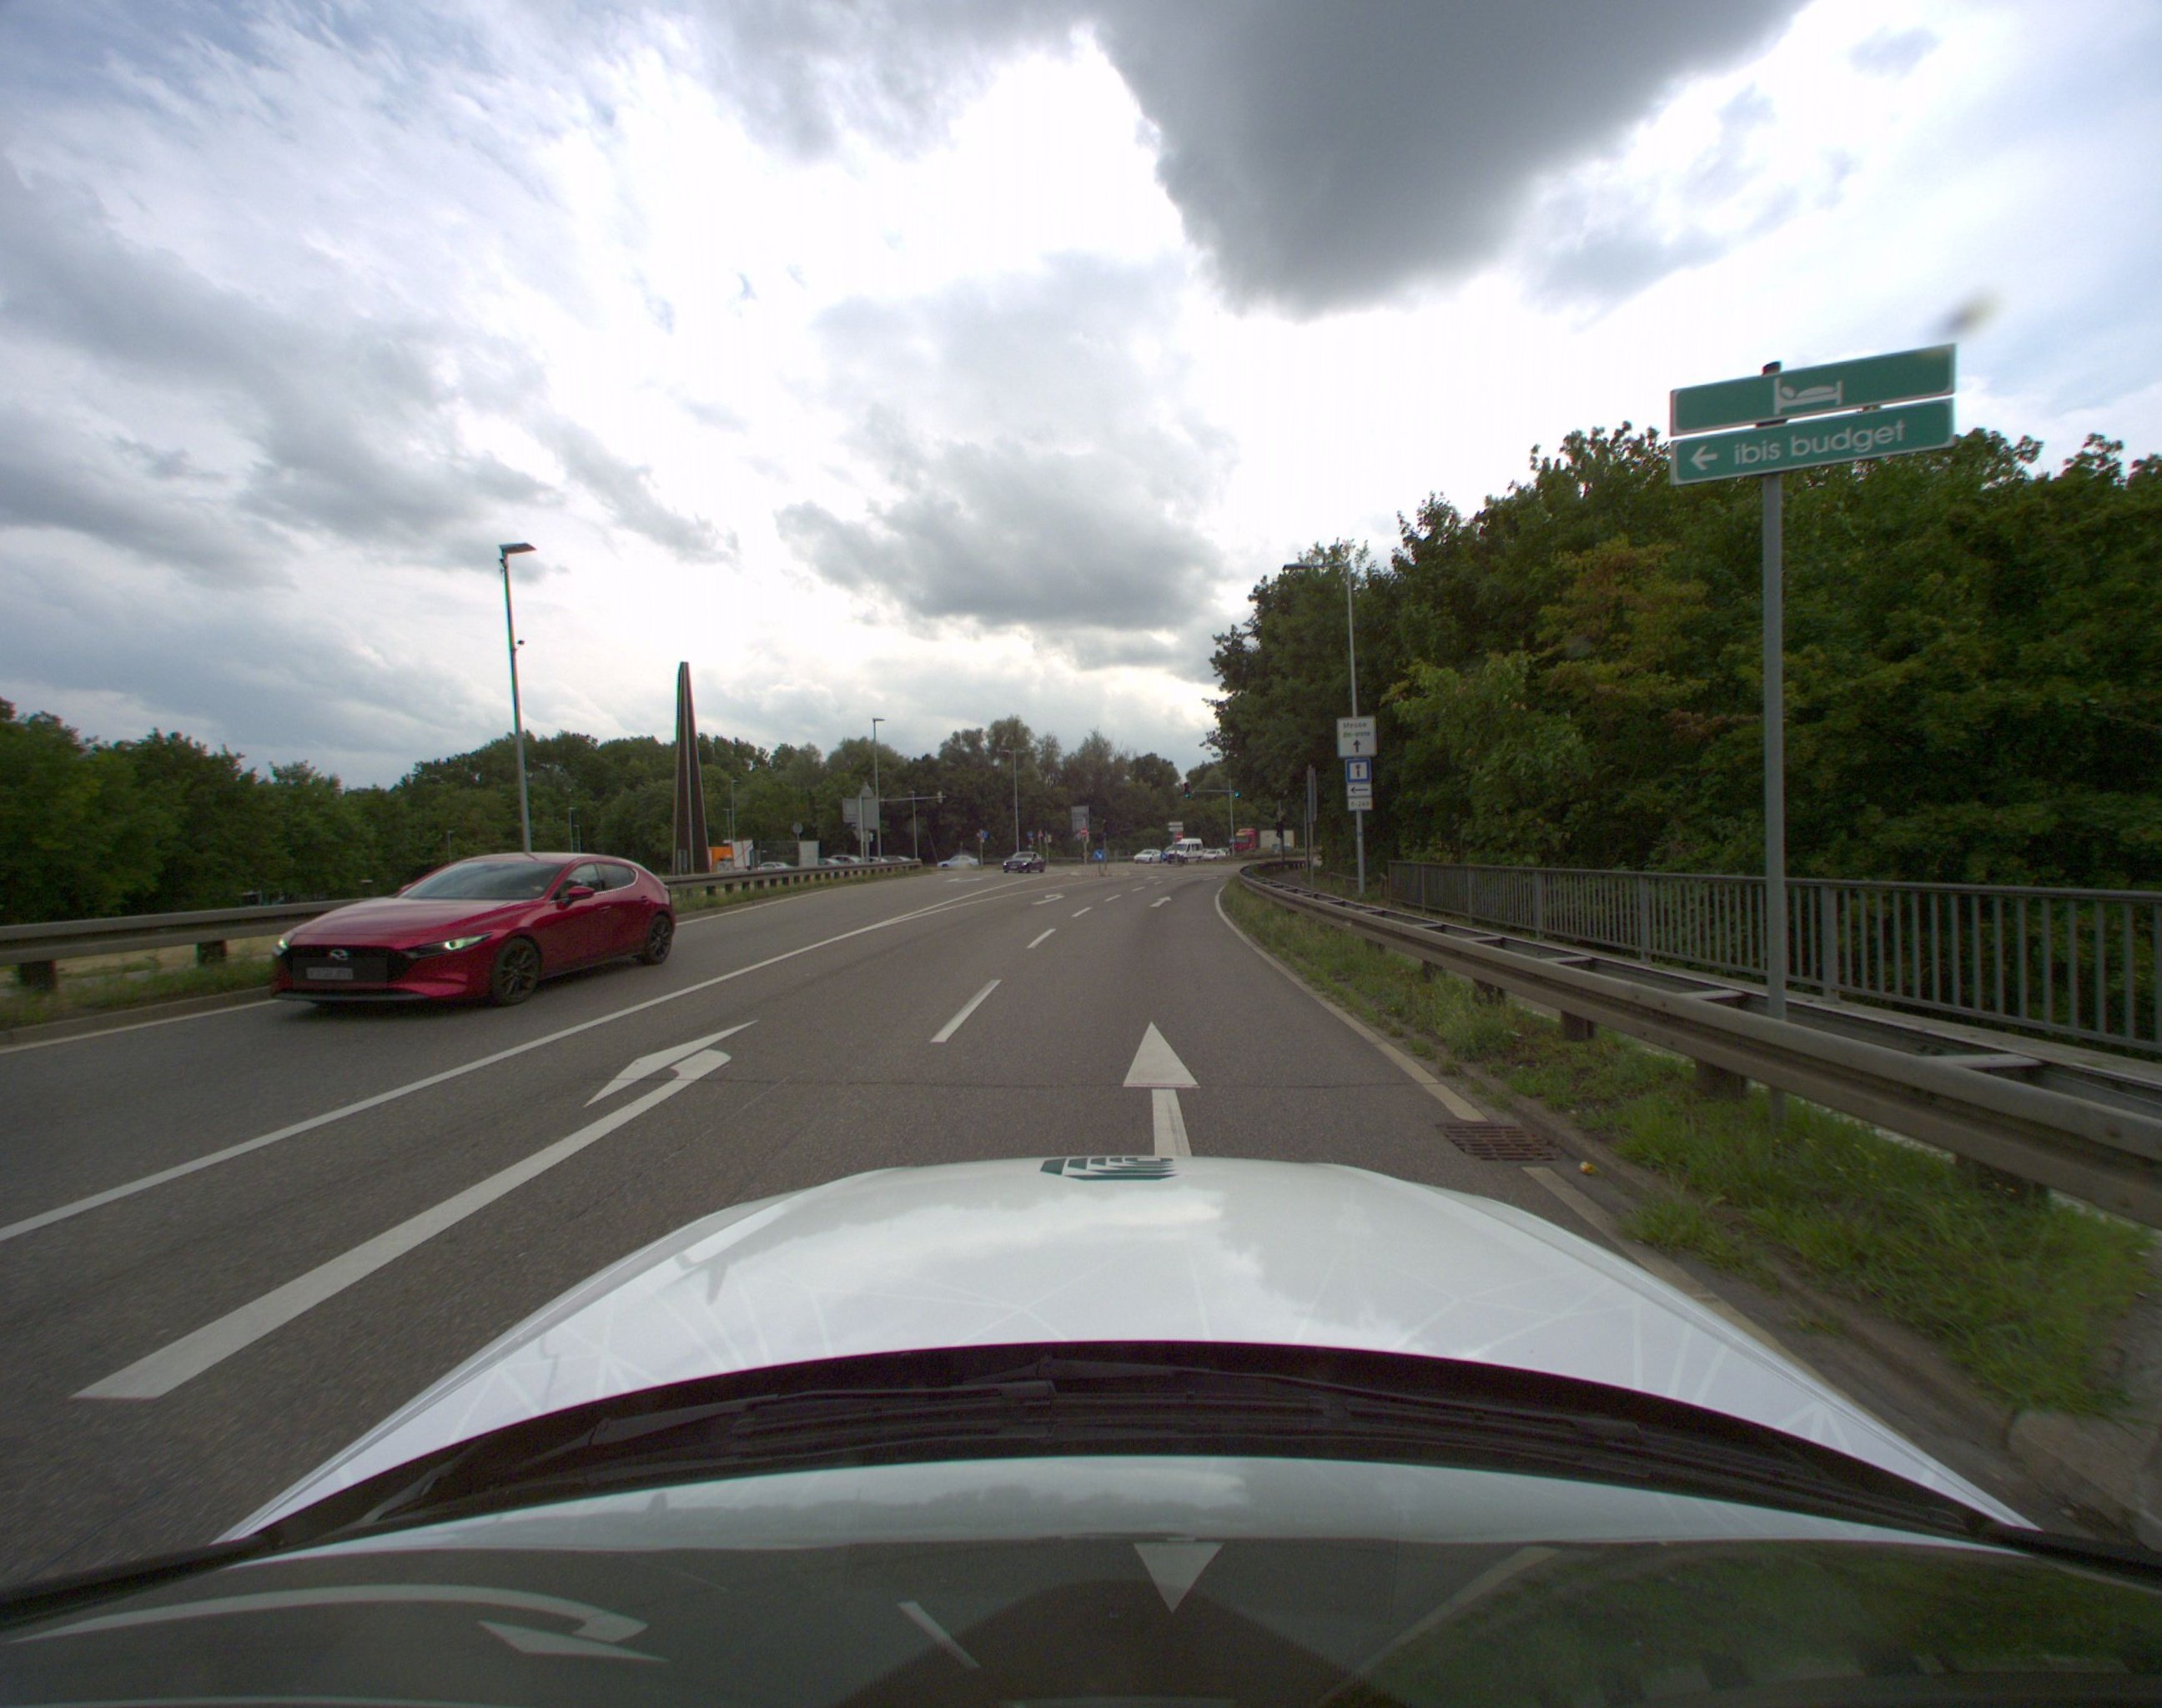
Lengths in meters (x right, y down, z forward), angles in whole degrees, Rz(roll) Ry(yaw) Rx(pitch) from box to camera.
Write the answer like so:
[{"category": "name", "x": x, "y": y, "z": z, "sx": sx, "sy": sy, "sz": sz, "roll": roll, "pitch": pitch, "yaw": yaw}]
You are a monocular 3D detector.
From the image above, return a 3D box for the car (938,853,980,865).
[{"category": "car", "x": -12.699, "y": 0.541, "z": 84.793, "sx": 4.204, "sy": 1.205, "sz": 1.996, "roll": 0, "pitch": 0, "yaw": -6}]

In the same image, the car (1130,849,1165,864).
[{"category": "car", "x": 7.092, "y": 0.278, "z": 86.496, "sx": 1.974, "sy": 1.547, "sz": 4.567, "roll": 0, "pitch": 0, "yaw": 30}]

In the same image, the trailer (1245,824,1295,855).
[{"category": "trailer", "x": 26.698, "y": -1.966, "z": 114.583, "sx": 2.510, "sy": 4.147, "sz": 10.840, "roll": 0, "pitch": 0, "yaw": 38}]

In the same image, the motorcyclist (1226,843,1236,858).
[{"category": "motorcyclist", "x": 17.677, "y": -0.404, "z": 95.876, "sx": 0.857, "sy": 1.823, "sz": 0.931, "roll": 0, "pitch": 0, "yaw": 32}]

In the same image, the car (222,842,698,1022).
[{"category": "car", "x": -6.206, "y": 0.629, "z": 9.043, "sx": 1.791, "sy": 1.472, "sz": 4.633, "roll": 0, "pitch": 0, "yaw": -1}]

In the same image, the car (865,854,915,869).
[{"category": "car", "x": -17.142, "y": 0.659, "z": 72.990, "sx": 4.020, "sy": 1.310, "sz": 2.012, "roll": 0, "pitch": 0, "yaw": 28}]

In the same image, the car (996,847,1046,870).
[{"category": "car", "x": -3.960, "y": 0.293, "z": 54.497, "sx": 1.979, "sy": 1.455, "sz": 4.672, "roll": 0, "pitch": 0, "yaw": 14}]

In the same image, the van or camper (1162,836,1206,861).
[{"category": "van or camper", "x": 11.003, "y": -0.618, "z": 86.624, "sx": 2.139, "sy": 2.588, "sz": 6.536, "roll": 0, "pitch": 0, "yaw": 31}]

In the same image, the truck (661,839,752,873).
[{"category": "truck", "x": -36.678, "y": 0.191, "z": 79.706, "sx": 9.160, "sy": 3.135, "sz": 2.989, "roll": 0, "pitch": 0, "yaw": 27}]

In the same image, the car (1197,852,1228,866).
[{"category": "car", "x": 14.953, "y": 0.564, "z": 92.538, "sx": 1.974, "sy": 1.498, "sz": 4.428, "roll": 0, "pitch": 0, "yaw": 32}]

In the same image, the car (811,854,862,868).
[{"category": "car", "x": -23.040, "y": 0.626, "z": 76.706, "sx": 4.516, "sy": 1.310, "sz": 2.012, "roll": 0, "pitch": 0, "yaw": 28}]

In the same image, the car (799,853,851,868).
[{"category": "car", "x": -22.812, "y": 0.589, "z": 72.614, "sx": 4.283, "sy": 1.310, "sz": 2.012, "roll": 0, "pitch": 0, "yaw": 28}]

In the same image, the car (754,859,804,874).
[{"category": "car", "x": -27.892, "y": 1.101, "z": 75.221, "sx": 4.283, "sy": 1.310, "sz": 2.012, "roll": 0, "pitch": 0, "yaw": 28}]

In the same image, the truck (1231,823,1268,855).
[{"category": "truck", "x": 22.693, "y": -1.991, "z": 109.372, "sx": 2.543, "sy": 4.083, "sz": 5.658, "roll": 0, "pitch": 0, "yaw": 38}]

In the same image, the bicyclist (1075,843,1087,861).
[{"category": "bicyclist", "x": 0.004, "y": -0.229, "z": 81.521, "sx": 0.735, "sy": 1.735, "sz": 0.806, "roll": -2, "pitch": -1, "yaw": 38}]

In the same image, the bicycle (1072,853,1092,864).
[{"category": "bicycle", "x": 0.076, "y": 0.461, "z": 81.455, "sx": 1.919, "sy": 1.052, "sz": 0.712, "roll": -3, "pitch": -1, "yaw": 38}]

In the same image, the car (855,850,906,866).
[{"category": "car", "x": -16.832, "y": 0.342, "z": 68.326, "sx": 3.758, "sy": 1.310, "sz": 2.012, "roll": 0, "pitch": 0, "yaw": 28}]
